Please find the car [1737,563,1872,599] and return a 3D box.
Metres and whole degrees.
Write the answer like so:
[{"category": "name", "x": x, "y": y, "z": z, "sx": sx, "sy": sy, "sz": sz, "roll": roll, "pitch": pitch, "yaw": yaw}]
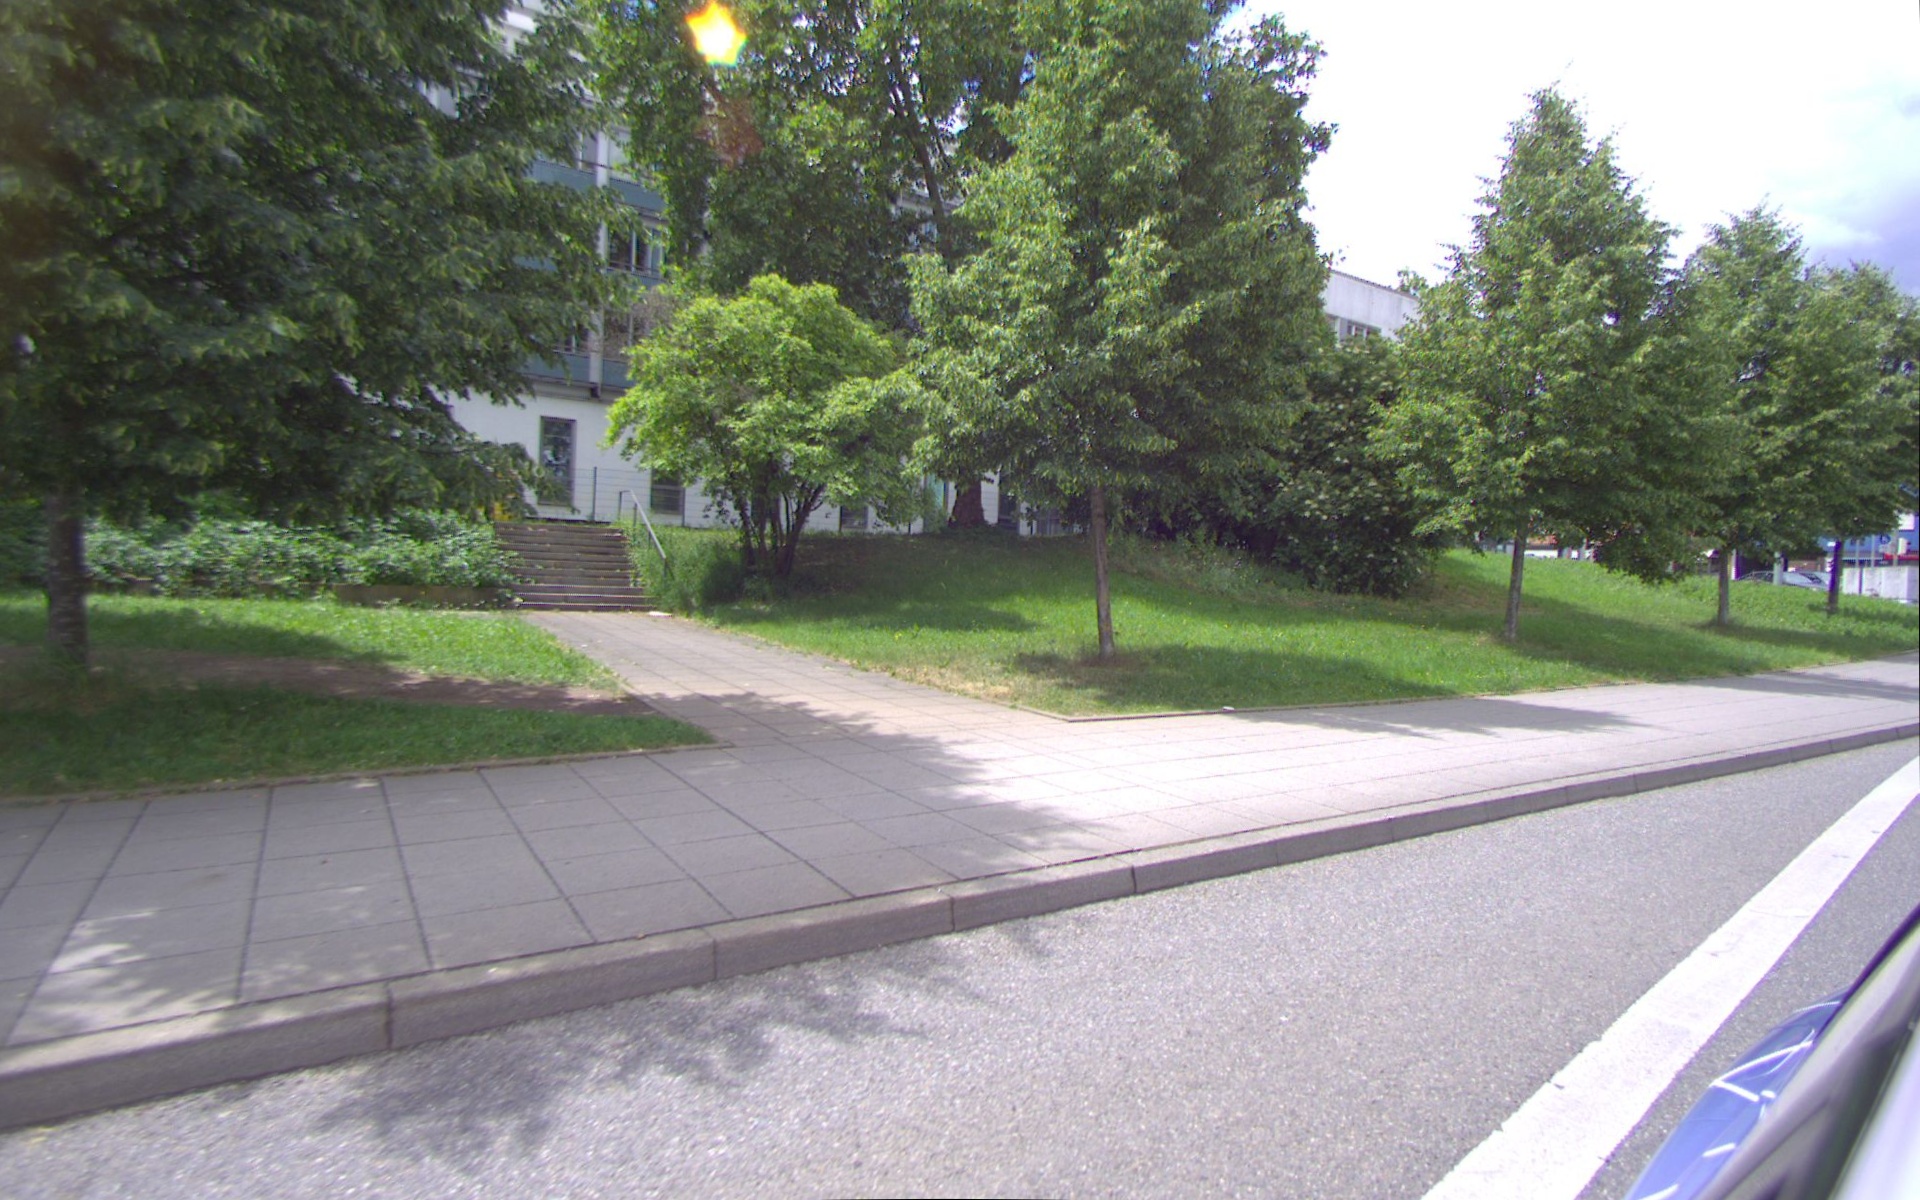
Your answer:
[{"category": "car", "x": 37.942, "y": -0.880, "z": 45.639, "sx": 2.010, "sy": 1.483, "sz": 4.333, "roll": 1, "pitch": 2, "yaw": -10}]
